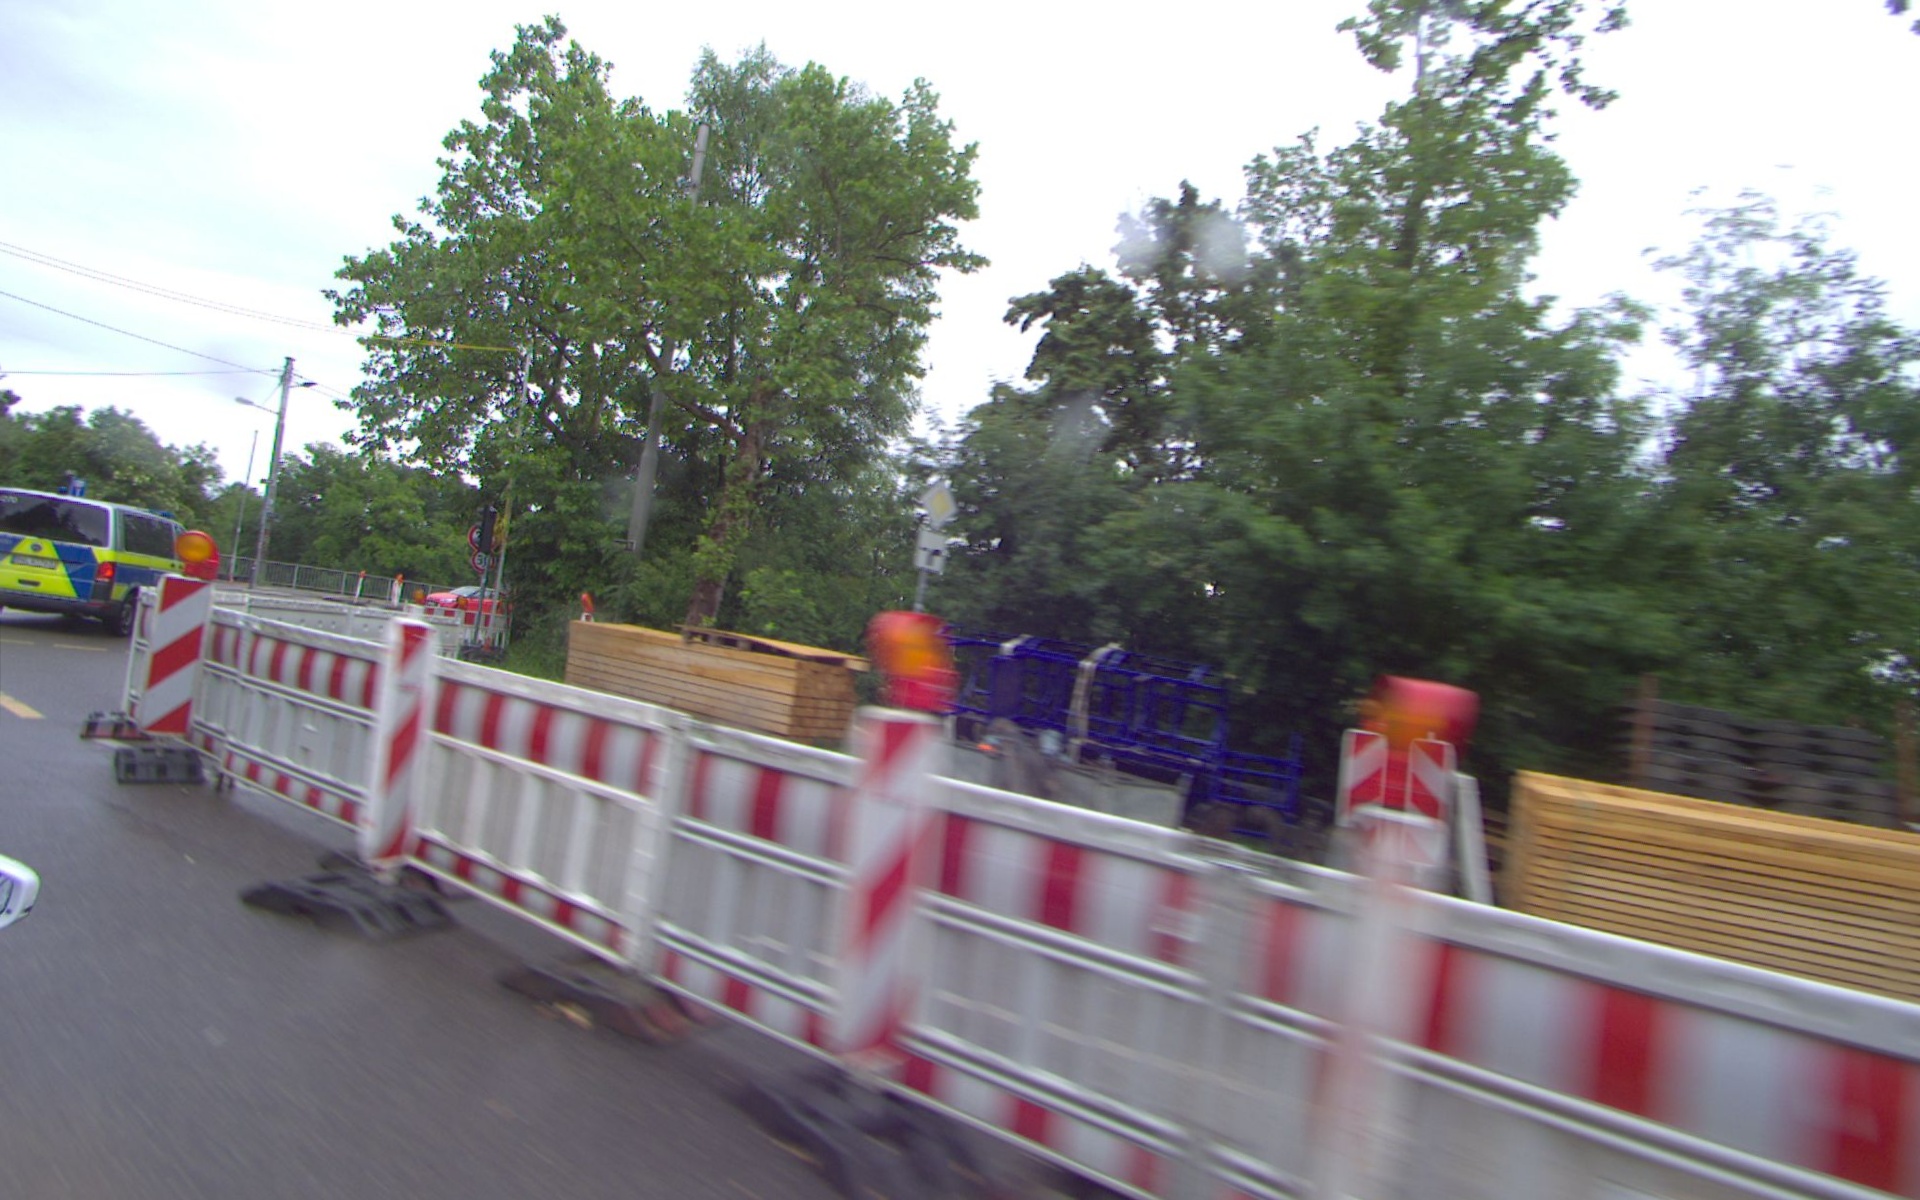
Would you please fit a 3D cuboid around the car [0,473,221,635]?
[{"bbox_3d":[-13.767,-0.628,16.117,1.890,2.031,4.420,9,-4,-23],"label":"car"}]

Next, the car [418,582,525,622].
[{"bbox_3d":[-21.995,0.124,45.418,1.767,1.347,3.997,6,-2,28],"label":"car"}]
